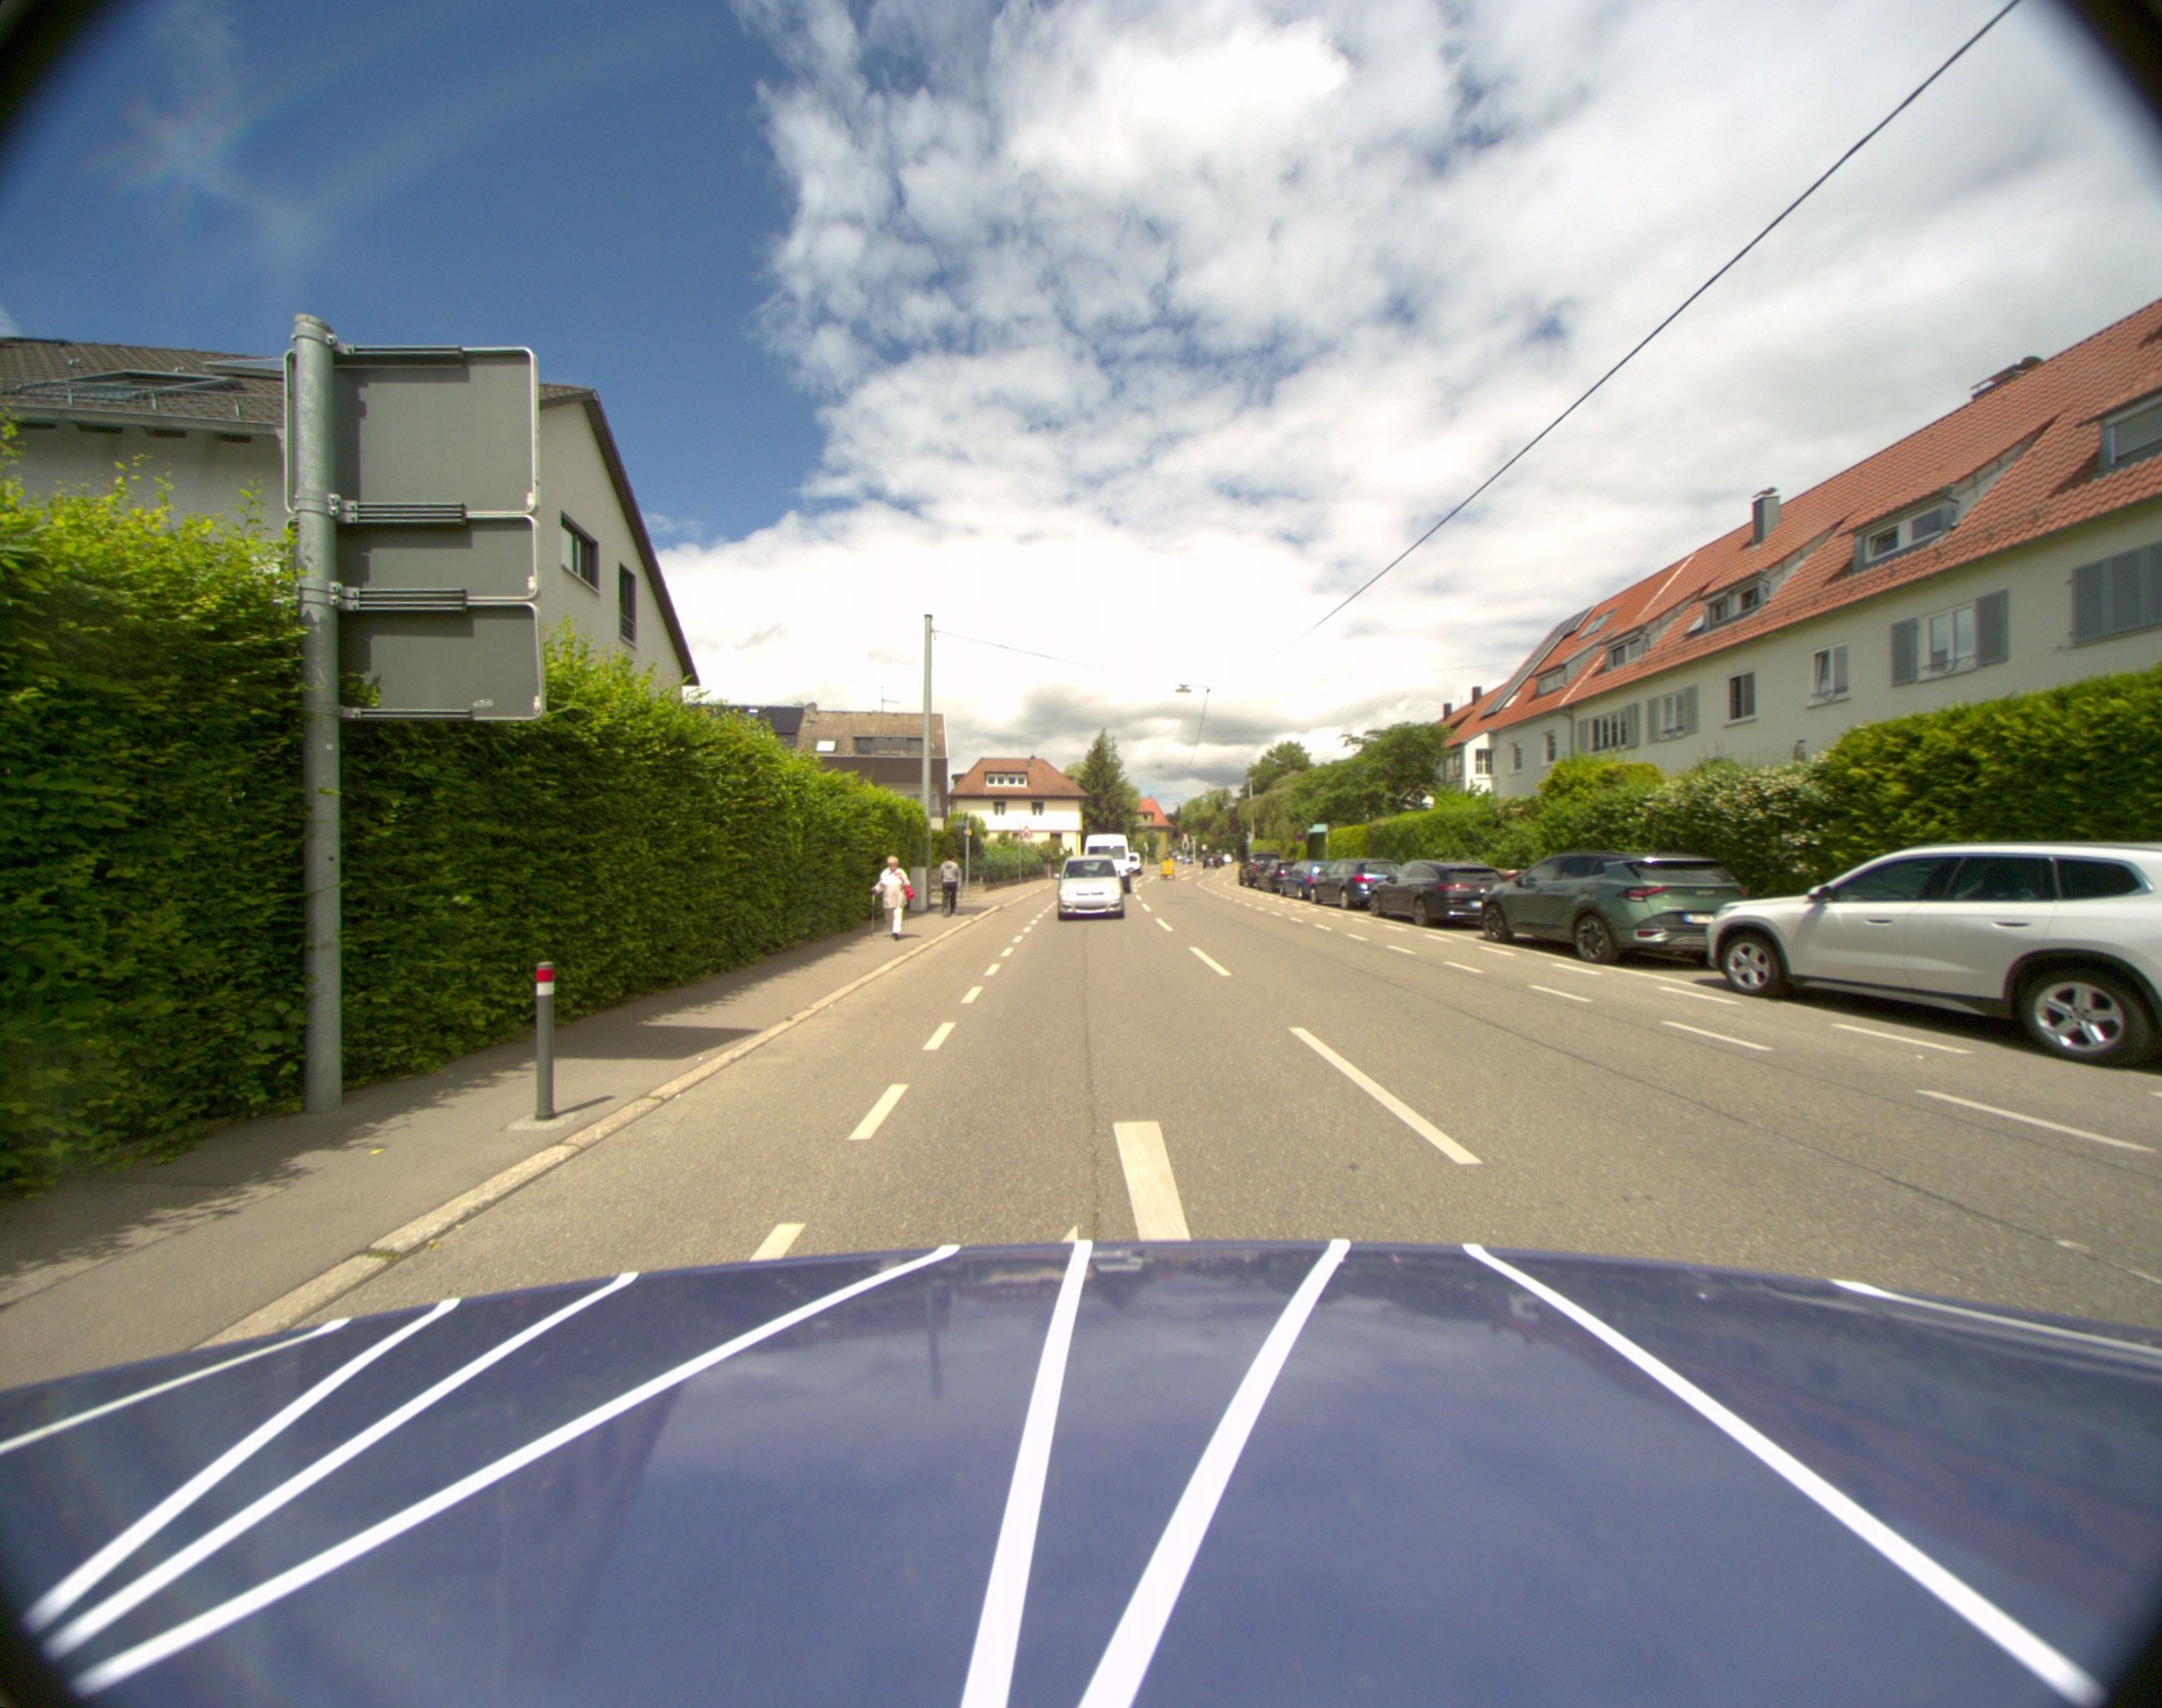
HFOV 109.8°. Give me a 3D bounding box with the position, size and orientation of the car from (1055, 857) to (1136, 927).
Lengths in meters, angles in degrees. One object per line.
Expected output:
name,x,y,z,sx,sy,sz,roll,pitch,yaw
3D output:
car,0.485,0.890,19.582,1.707,1.531,4.332,-2,0,5

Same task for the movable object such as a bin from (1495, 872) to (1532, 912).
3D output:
movable object such as a bin,11.451,0.992,20.137,0.578,0.996,0.635,-3,1,-2

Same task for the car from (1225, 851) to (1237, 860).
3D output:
car,26.577,0.304,134.712,1.850,1.565,4.162,-1,0,11

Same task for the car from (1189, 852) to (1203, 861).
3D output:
car,19.932,0.502,131.998,1.996,1.419,4.003,-2,0,13

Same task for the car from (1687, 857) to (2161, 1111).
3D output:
car,8.151,0.865,6.733,1.998,1.641,4.517,0,0,1

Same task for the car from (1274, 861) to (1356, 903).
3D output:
car,8.604,0.984,28.325,1.782,1.409,4.440,0,0,1

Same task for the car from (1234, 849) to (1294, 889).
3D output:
car,9.289,0.702,39.050,1.998,1.884,5.404,1,0,3

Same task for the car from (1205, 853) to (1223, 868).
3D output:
car,15.807,0.758,90.010,1.919,1.639,4.297,3,1,11

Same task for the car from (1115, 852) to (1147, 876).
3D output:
car,4.003,0.735,60.141,1.931,1.771,4.003,-2,0,11

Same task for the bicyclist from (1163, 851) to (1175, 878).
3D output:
bicyclist,5.694,0.690,49.190,0.794,1.703,1.209,0,0,5

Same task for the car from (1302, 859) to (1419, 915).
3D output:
car,8.326,0.911,23.098,1.782,1.483,4.565,0,0,-2

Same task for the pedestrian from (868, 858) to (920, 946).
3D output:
pedestrian,-3.546,0.897,14.461,0.801,1.608,0.653,1,1,2

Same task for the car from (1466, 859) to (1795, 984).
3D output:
car,8.228,0.891,12.093,1.998,1.555,4.690,0,0,3

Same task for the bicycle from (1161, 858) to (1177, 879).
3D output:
bicycle,5.686,0.928,49.221,0.865,1.294,2.662,0,0,4

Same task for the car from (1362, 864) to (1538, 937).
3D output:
car,8.300,0.966,17.662,1.998,1.400,4.690,0,0,3

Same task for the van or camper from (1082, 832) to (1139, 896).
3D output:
van or camper,1.422,0.472,34.195,2.029,2.564,5.926,-2,-1,7

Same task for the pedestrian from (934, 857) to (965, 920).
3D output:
pedestrian,-3.393,0.874,19.655,0.604,1.596,0.836,1,1,2

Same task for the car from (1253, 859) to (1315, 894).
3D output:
car,8.882,0.934,33.590,1.782,1.409,4.340,0,0,3
